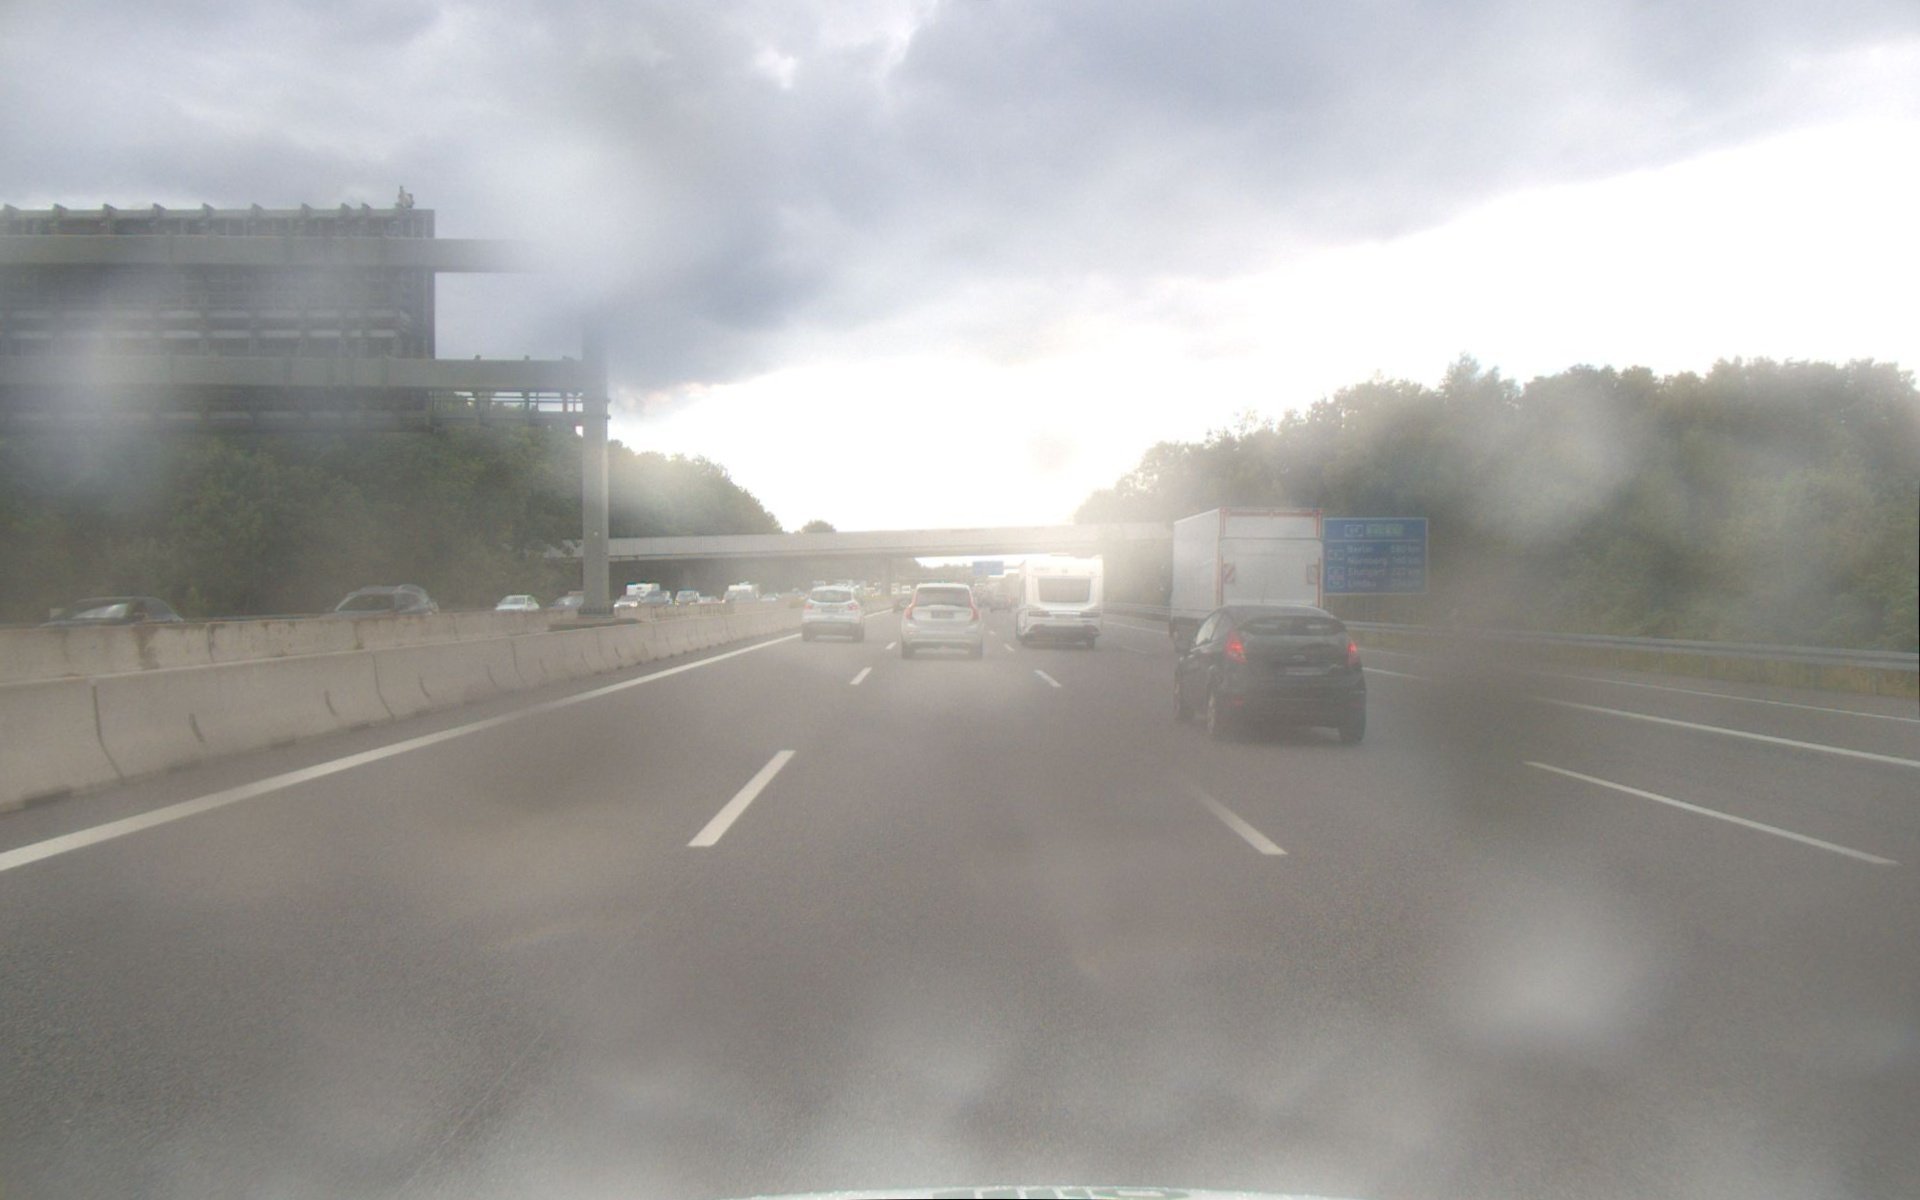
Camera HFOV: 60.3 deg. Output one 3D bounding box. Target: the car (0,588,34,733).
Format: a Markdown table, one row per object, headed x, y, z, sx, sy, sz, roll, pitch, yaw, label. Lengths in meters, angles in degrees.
| x | y | z | sx | sy | sz | roll | pitch | yaw | label |
| --- | --- | --- | --- | --- | --- | --- | --- | --- | --- |
| -13.631 | 0.795 | 20.425 | 1.953 | 1.924 | 4.361 | 1 | 0 | -1 | car |

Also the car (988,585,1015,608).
| x | y | z | sx | sy | sz | roll | pitch | yaw | label |
| --- | --- | --- | --- | --- | --- | --- | --- | --- | --- |
| 3.369 | -0.302 | 135.558 | 2.001 | 1.855 | 4.903 | 1 | 0 | 0 | car |

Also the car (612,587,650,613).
| x | y | z | sx | sy | sz | roll | pitch | yaw | label |
| --- | --- | --- | --- | --- | --- | --- | --- | --- | --- |
| -25.663 | -0.035 | 129.149 | 1.953 | 1.986 | 5.225 | 1 | 0 | 0 | car |

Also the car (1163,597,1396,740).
| x | y | z | sx | sy | sz | roll | pitch | yaw | label |
| --- | --- | --- | --- | --- | --- | --- | --- | --- | --- |
| 3.542 | 0.699 | 19.097 | 1.846 | 1.431 | 4.282 | 1 | 0 | 0 | car |

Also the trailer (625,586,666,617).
| x | y | z | sx | sy | sz | roll | pitch | yaw | label |
| --- | --- | --- | --- | --- | --- | --- | --- | --- | --- |
| -25.553 | 0.105 | 134.628 | 2.196 | 2.416 | 5.783 | 1 | 0 | 0 | trailer |

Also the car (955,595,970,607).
| x | y | z | sx | sy | sz | roll | pitch | yaw | label |
| --- | --- | --- | --- | --- | --- | --- | --- | --- | --- |
| 0.307 | 0.130 | 236.994 | 1.844 | 1.715 | 3.997 | 1 | 0 | -4 | car |

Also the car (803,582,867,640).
| x | y | z | sx | sy | sz | roll | pitch | yaw | label |
| --- | --- | --- | --- | --- | --- | --- | --- | --- | --- |
| -3.896 | 0.304 | 52.184 | 1.778 | 1.719 | 4.851 | 0 | 1 | -1 | car |

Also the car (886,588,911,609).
| x | y | z | sx | sy | sz | roll | pitch | yaw | label |
| --- | --- | --- | --- | --- | --- | --- | --- | --- | --- |
| -4.616 | -0.107 | 125.295 | 1.744 | 1.507 | 4.352 | 1 | 0 | -1 | car |

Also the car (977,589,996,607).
| x | y | z | sx | sy | sz | roll | pitch | yaw | label |
| --- | --- | --- | --- | --- | --- | --- | --- | --- | --- |
| 2.889 | -0.252 | 179.948 | 2.001 | 1.855 | 4.903 | 1 | 0 | 0 | car |

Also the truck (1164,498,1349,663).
| x | y | z | sx | sy | sz | roll | pitch | yaw | label |
| --- | --- | --- | --- | --- | --- | --- | --- | --- | --- |
| 7.464 | -0.478 | 43.154 | 3.069 | 3.774 | 9.847 | 1 | 0 | 0 | truck |

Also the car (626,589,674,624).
| x | y | z | sx | sy | sz | roll | pitch | yaw | label |
| --- | --- | --- | --- | --- | --- | --- | --- | --- | --- |
| -18.768 | 0.402 | 100.305 | 1.953 | 2.049 | 4.764 | 1 | 0 | 0 | car |

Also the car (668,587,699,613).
| x | y | z | sx | sy | sz | roll | pitch | yaw | label |
| --- | --- | --- | --- | --- | --- | --- | --- | --- | --- |
| -22.384 | 0.010 | 134.089 | 1.780 | 2.049 | 4.000 | 1 | 0 | 0 | car |

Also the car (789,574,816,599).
| x | y | z | sx | sy | sz | roll | pitch | yaw | label |
| --- | --- | --- | --- | --- | --- | --- | --- | --- | --- |
| -14.609 | -1.250 | 153.837 | 1.953 | 2.219 | 5.289 | 1 | 0 | 0 | car |

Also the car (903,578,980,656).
| x | y | z | sx | sy | sz | roll | pitch | yaw | label |
| --- | --- | --- | --- | --- | --- | --- | --- | --- | --- |
| -0.422 | 0.375 | 39.936 | 1.744 | 1.746 | 4.353 | 1 | 0 | 0 | car |

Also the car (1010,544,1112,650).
| x | y | z | sx | sy | sz | roll | pitch | yaw | label |
| --- | --- | --- | --- | --- | --- | --- | --- | --- | --- |
| 2.947 | -0.092 | 50.242 | 2.515 | 2.946 | 7.532 | 1 | 0 | -1 | car |

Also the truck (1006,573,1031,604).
| x | y | z | sx | sy | sz | roll | pitch | yaw | label |
| --- | --- | --- | --- | --- | --- | --- | --- | --- | --- |
| 7.251 | -1.431 | 207.029 | 2.846 | 3.876 | 7.273 | 1 | 0 | 0 | truck |

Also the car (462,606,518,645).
| x | y | z | sx | sy | sz | roll | pitch | yaw | label |
| --- | --- | --- | --- | --- | --- | --- | --- | --- | --- |
| -26.134 | 1.383 | 92.122 | 1.869 | 2.049 | 4.561 | 1 | 0 | 0 | car |
